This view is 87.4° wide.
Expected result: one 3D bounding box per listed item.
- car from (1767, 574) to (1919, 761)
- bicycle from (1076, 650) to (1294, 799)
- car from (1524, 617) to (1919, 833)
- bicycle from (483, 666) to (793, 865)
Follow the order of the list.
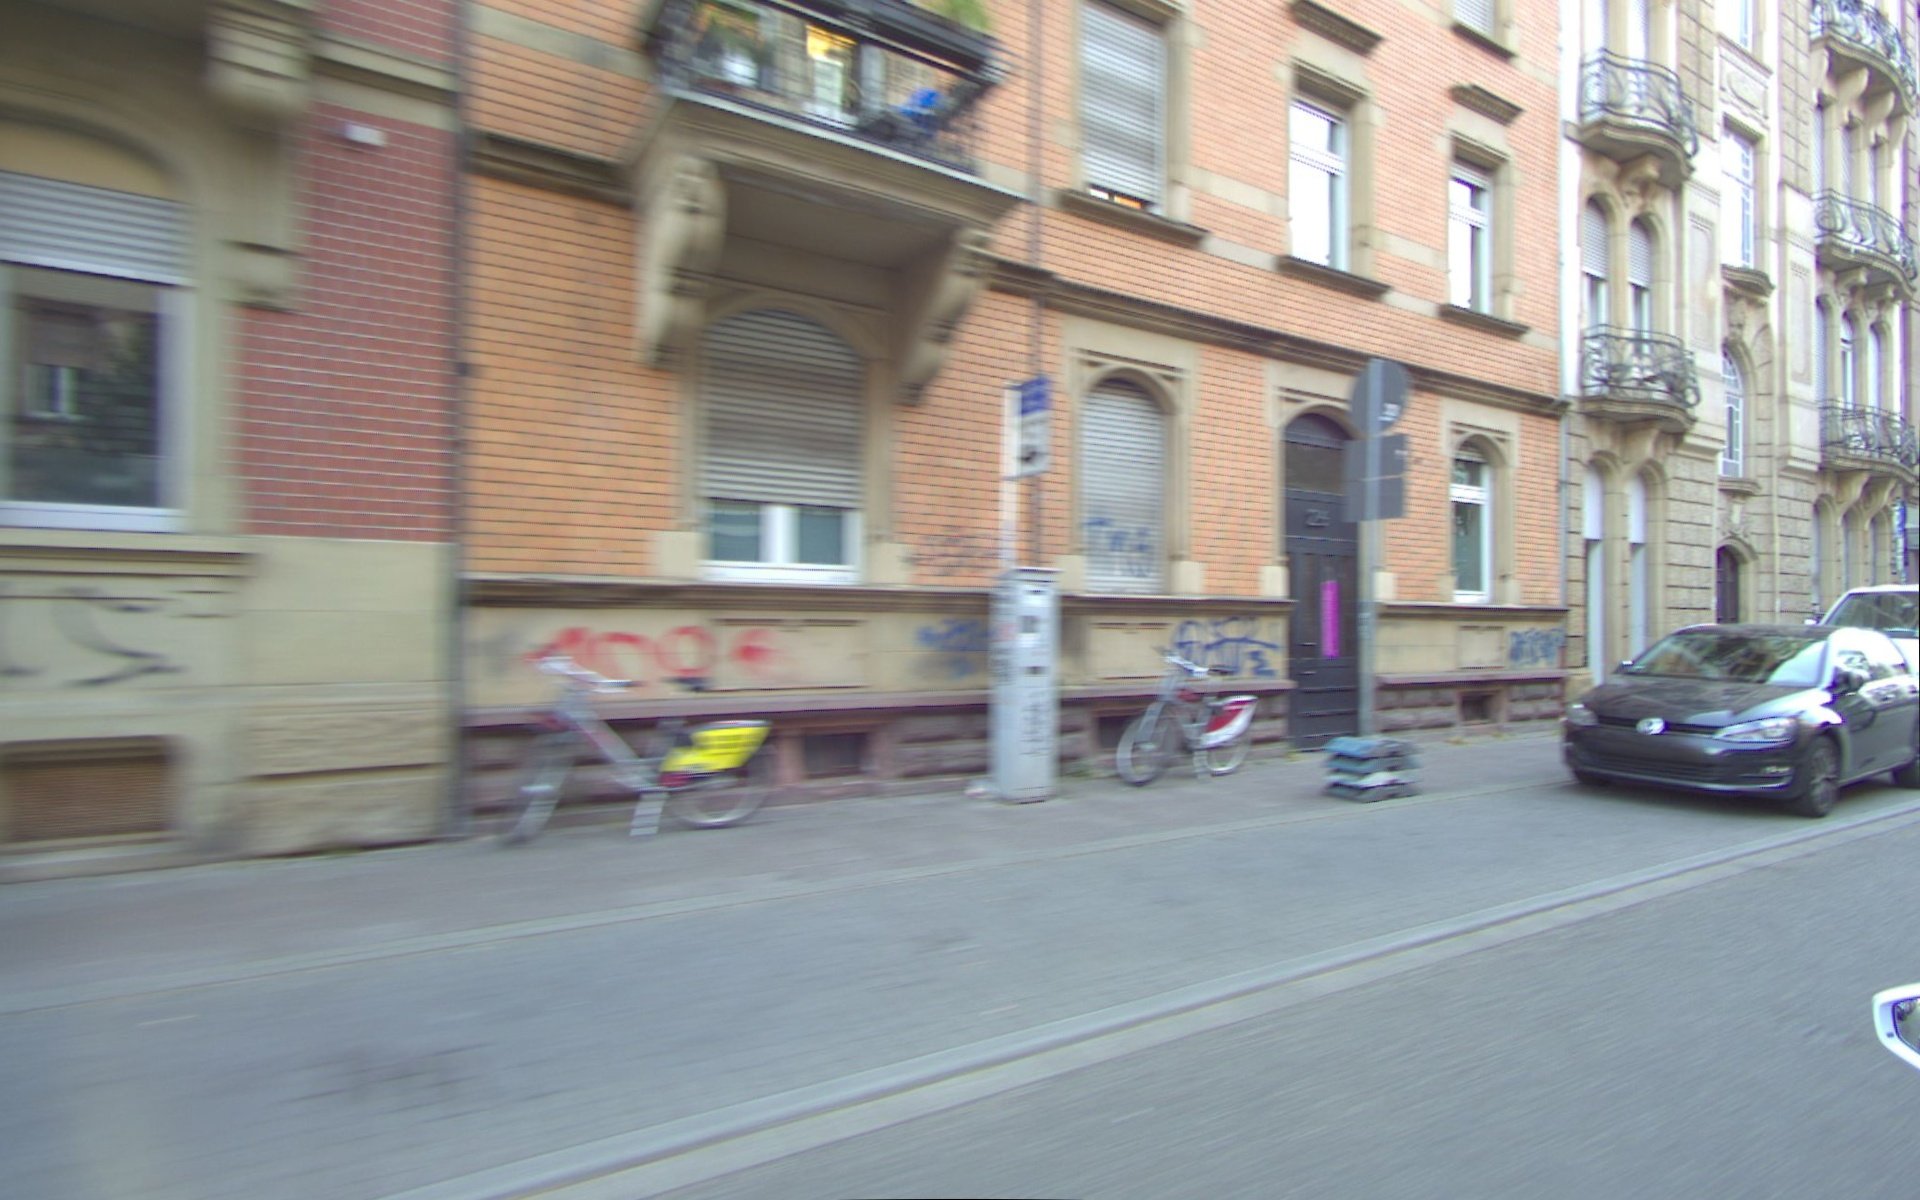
[{"bbox_3d":[11.817,0.759,12.050,4.790,1.947,1.827,1,-1,-31],"label":"car"},{"bbox_3d":[1.997,1.017,8.744,2.008,1.116,0.744,2,0,-39],"label":"bicycle"},{"bbox_3d":[6.985,0.925,8.908,4.129,1.490,1.826,1,-1,-34],"label":"car"},{"bbox_3d":[-1.917,0.943,6.106,1.721,1.043,0.445,2,0,-31],"label":"bicycle"}]
